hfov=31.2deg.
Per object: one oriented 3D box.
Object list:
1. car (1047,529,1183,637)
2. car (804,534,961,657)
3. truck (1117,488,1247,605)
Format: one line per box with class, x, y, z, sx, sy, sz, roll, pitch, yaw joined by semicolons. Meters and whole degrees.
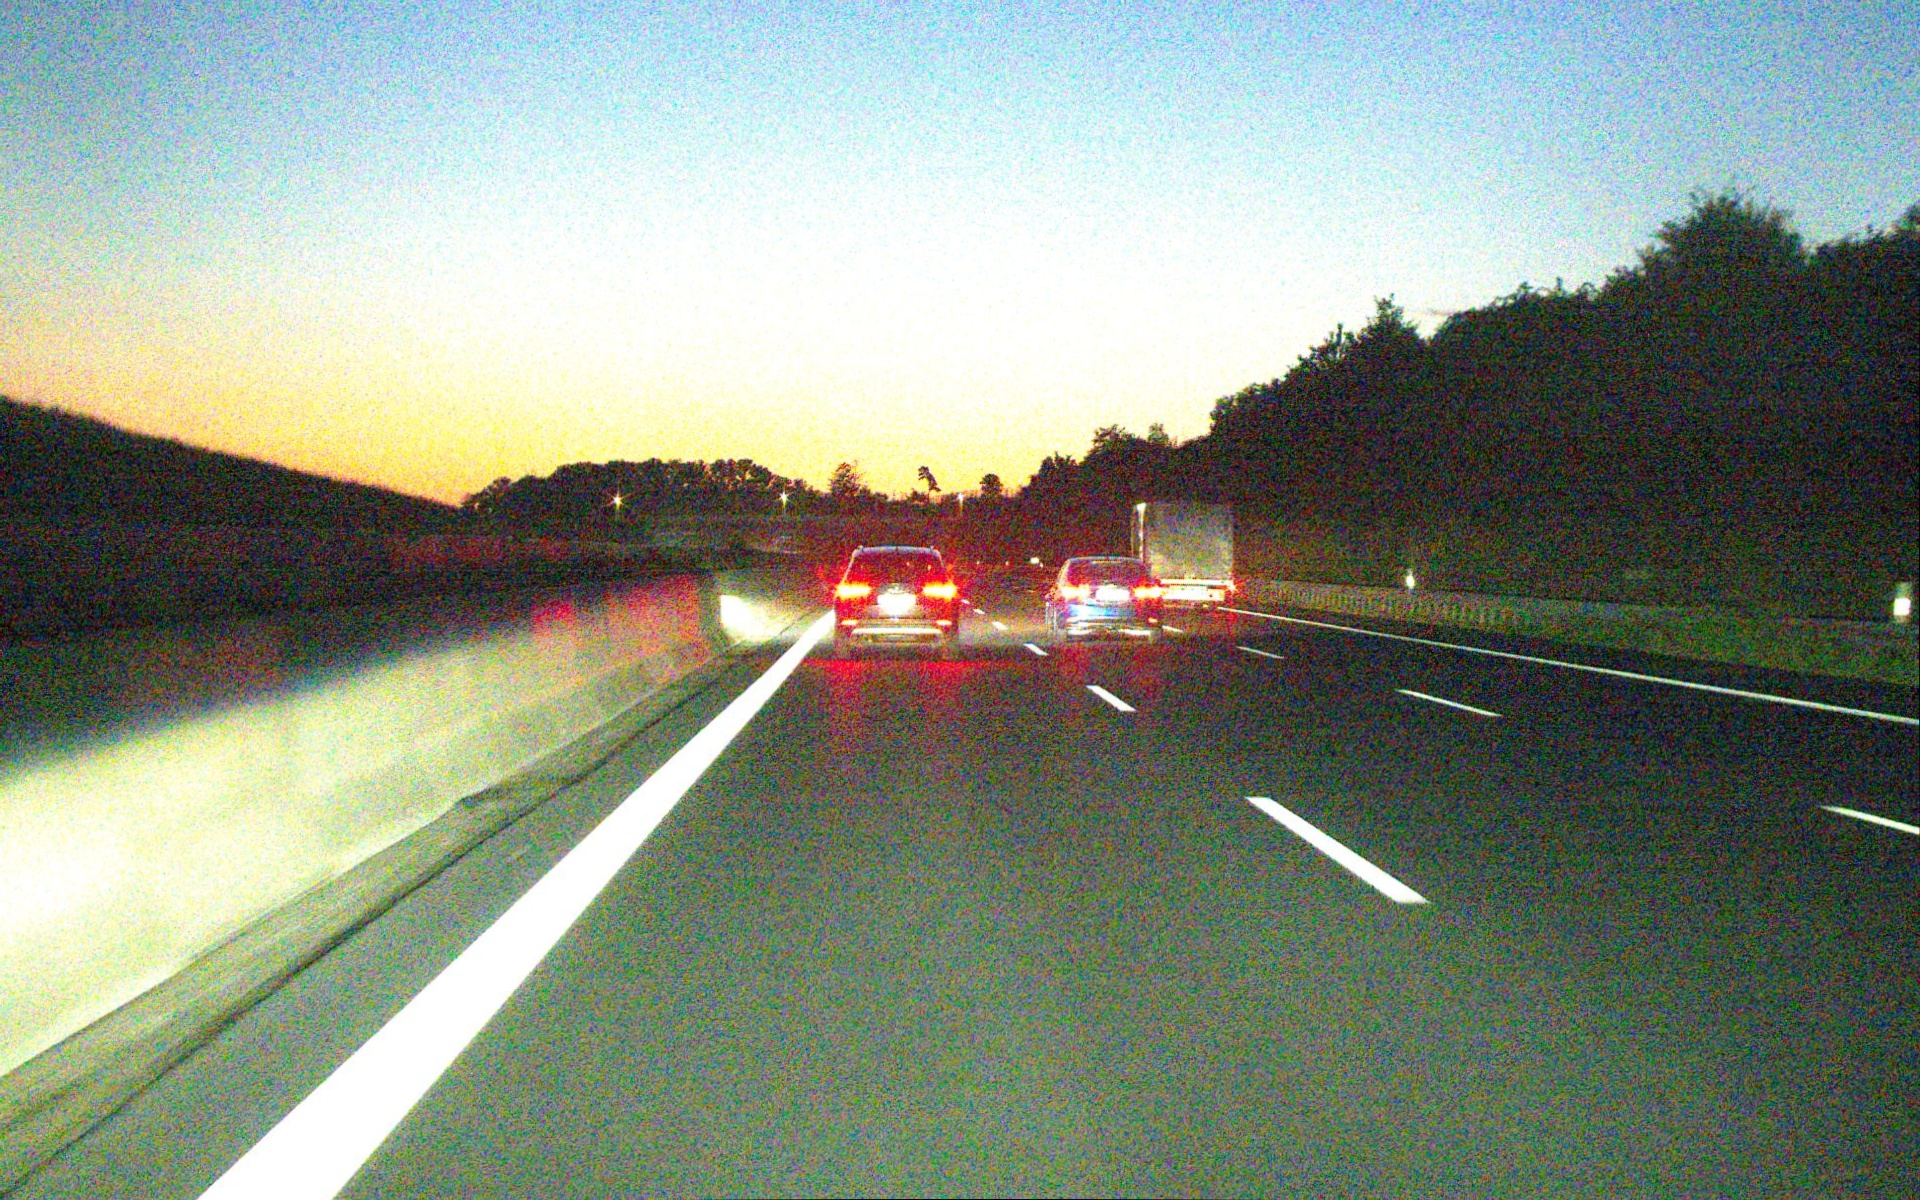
car;2.602;-0.305;58.482;1.911;1.724;4.000;1;1;-3
car;-1.148;-0.090;49.268;2.105;1.612;4.205;2;1;-2
truck;6.042;-1.480;94.659;2.603;2.865;7.486;5;1;-2
